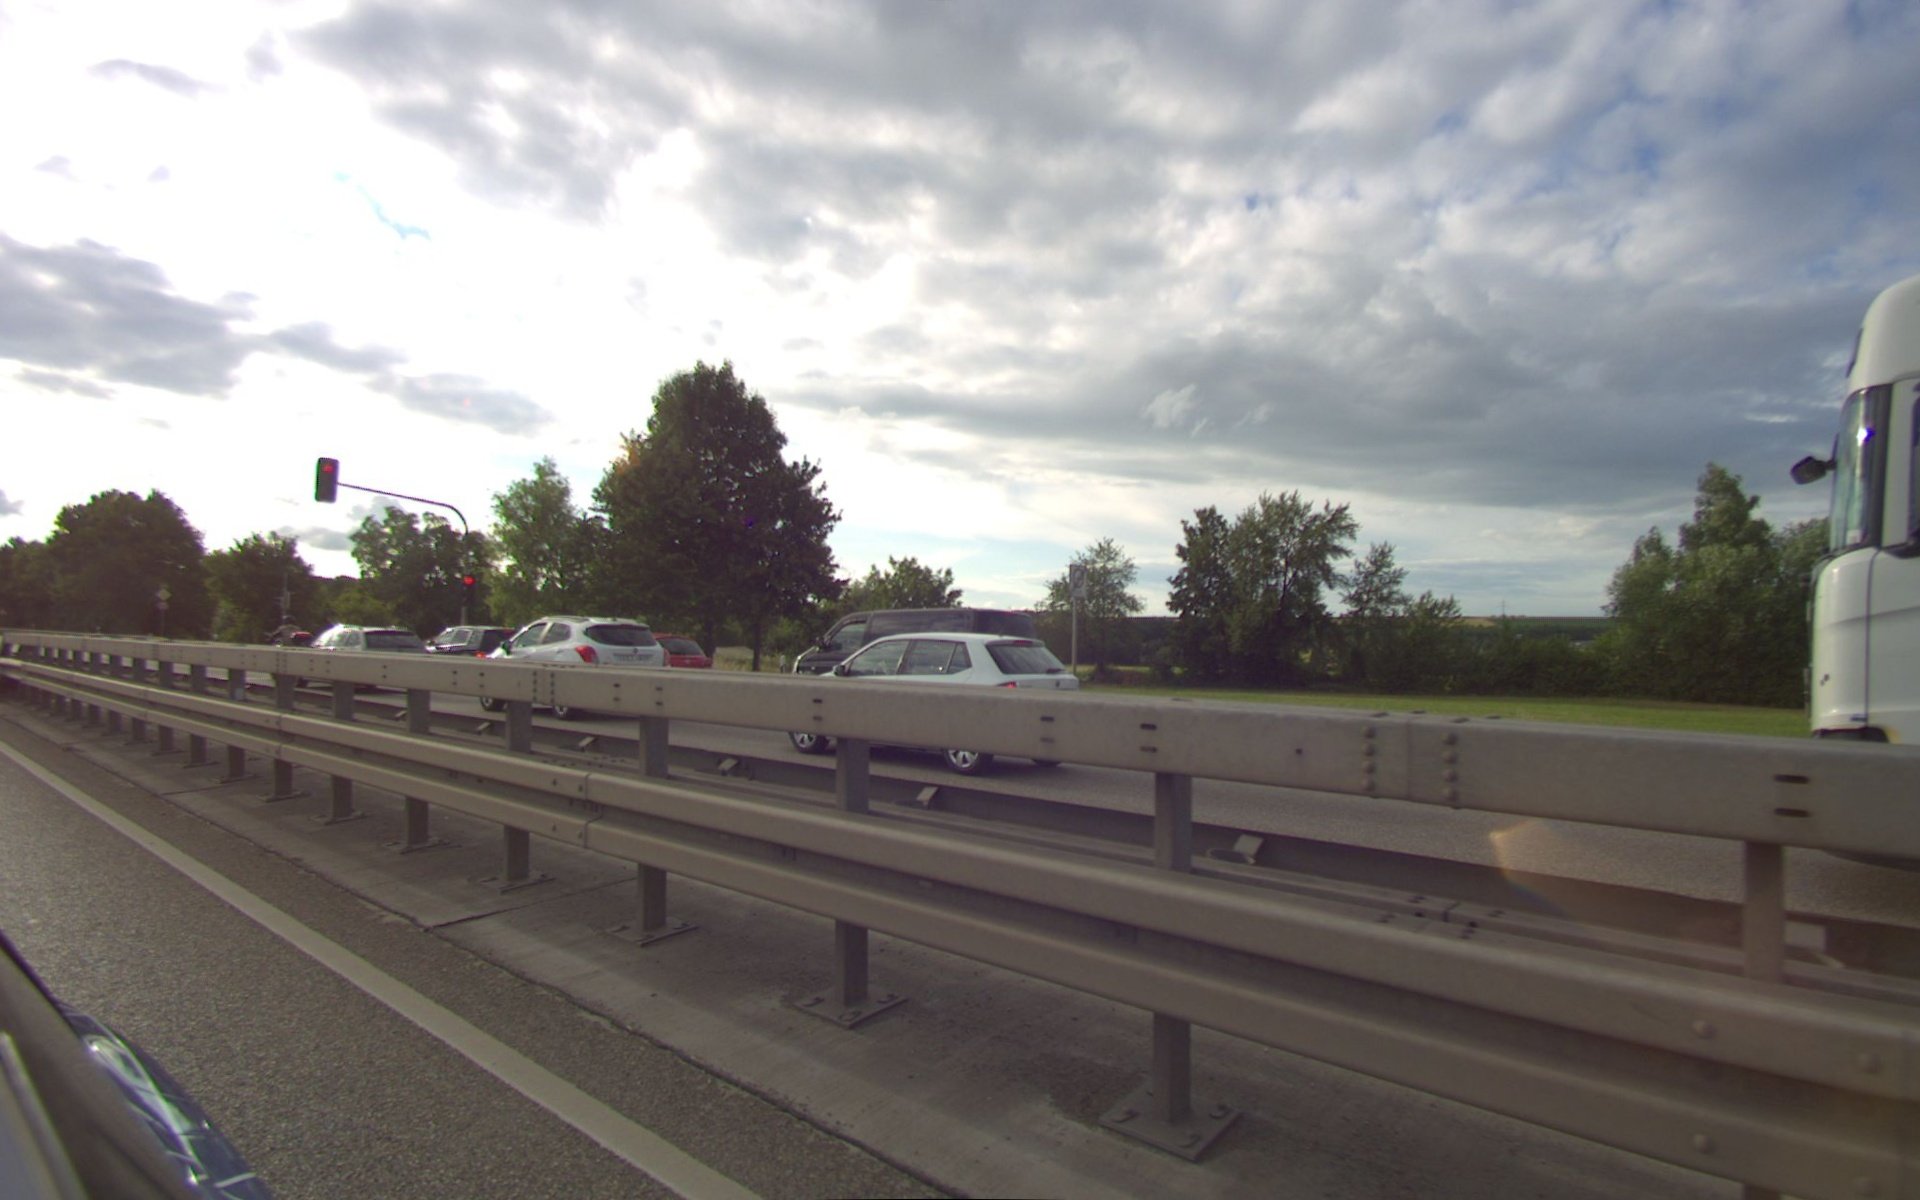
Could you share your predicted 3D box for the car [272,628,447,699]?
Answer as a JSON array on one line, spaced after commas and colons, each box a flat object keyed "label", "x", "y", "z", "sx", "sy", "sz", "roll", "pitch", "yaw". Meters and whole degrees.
[{"label": "car", "x": -13.911, "y": 1.397, "z": 23.311, "sx": 5.148, "sy": 1.439, "sz": 1.888, "roll": -1, "pitch": -3, "yaw": 41}]

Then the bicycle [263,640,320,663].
[{"label": "bicycle", "x": -34.062, "y": 2.643, "z": 51.615, "sx": 2.292, "sy": 1.146, "sz": 0.816, "roll": 3, "pitch": -4, "yaw": -44}]

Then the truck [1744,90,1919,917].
[{"label": "truck", "x": 7.704, "y": -0.445, "z": 4.860, "sx": 6.046, "sy": 4.182, "sz": 3.439, "roll": -1, "pitch": -4, "yaw": 41}]

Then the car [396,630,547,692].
[{"label": "car", "x": -13.498, "y": 1.630, "z": 27.852, "sx": 4.935, "sy": 1.547, "sz": 1.888, "roll": -1, "pitch": -3, "yaw": 41}]

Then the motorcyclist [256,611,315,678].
[{"label": "motorcyclist", "x": -17.766, "y": 1.161, "z": 26.656, "sx": 1.275, "sy": 1.722, "sz": 0.907, "roll": -1, "pitch": -4, "yaw": 41}]

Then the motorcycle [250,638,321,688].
[{"label": "motorcycle", "x": -17.770, "y": 1.651, "z": 26.639, "sx": 2.477, "sy": 1.212, "sz": 0.907, "roll": -1, "pitch": -3, "yaw": 41}]

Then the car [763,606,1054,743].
[{"label": "car", "x": -1.002, "y": 1.164, "z": 17.309, "sx": 4.945, "sy": 2.029, "sz": 1.973, "roll": 0, "pitch": -3, "yaw": 41}]

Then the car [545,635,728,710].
[{"label": "car", "x": -7.165, "y": 1.533, "z": 22.247, "sx": 4.181, "sy": 1.476, "sz": 1.888, "roll": -1, "pitch": -3, "yaw": 41}]

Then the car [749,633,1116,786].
[{"label": "car", "x": -0.435, "y": 1.134, "z": 11.794, "sx": 4.157, "sy": 1.455, "sz": 1.770, "roll": -1, "pitch": -3, "yaw": 41}]

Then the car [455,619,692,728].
[{"label": "car", "x": -6.679, "y": 1.175, "z": 17.292, "sx": 4.402, "sy": 1.622, "sz": 1.888, "roll": -1, "pitch": -3, "yaw": 41}]

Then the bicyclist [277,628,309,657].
[{"label": "bicyclist", "x": -34.038, "y": 2.189, "z": 51.663, "sx": 1.208, "sy": 1.462, "sz": 0.816, "roll": 3, "pitch": -4, "yaw": -44}]
